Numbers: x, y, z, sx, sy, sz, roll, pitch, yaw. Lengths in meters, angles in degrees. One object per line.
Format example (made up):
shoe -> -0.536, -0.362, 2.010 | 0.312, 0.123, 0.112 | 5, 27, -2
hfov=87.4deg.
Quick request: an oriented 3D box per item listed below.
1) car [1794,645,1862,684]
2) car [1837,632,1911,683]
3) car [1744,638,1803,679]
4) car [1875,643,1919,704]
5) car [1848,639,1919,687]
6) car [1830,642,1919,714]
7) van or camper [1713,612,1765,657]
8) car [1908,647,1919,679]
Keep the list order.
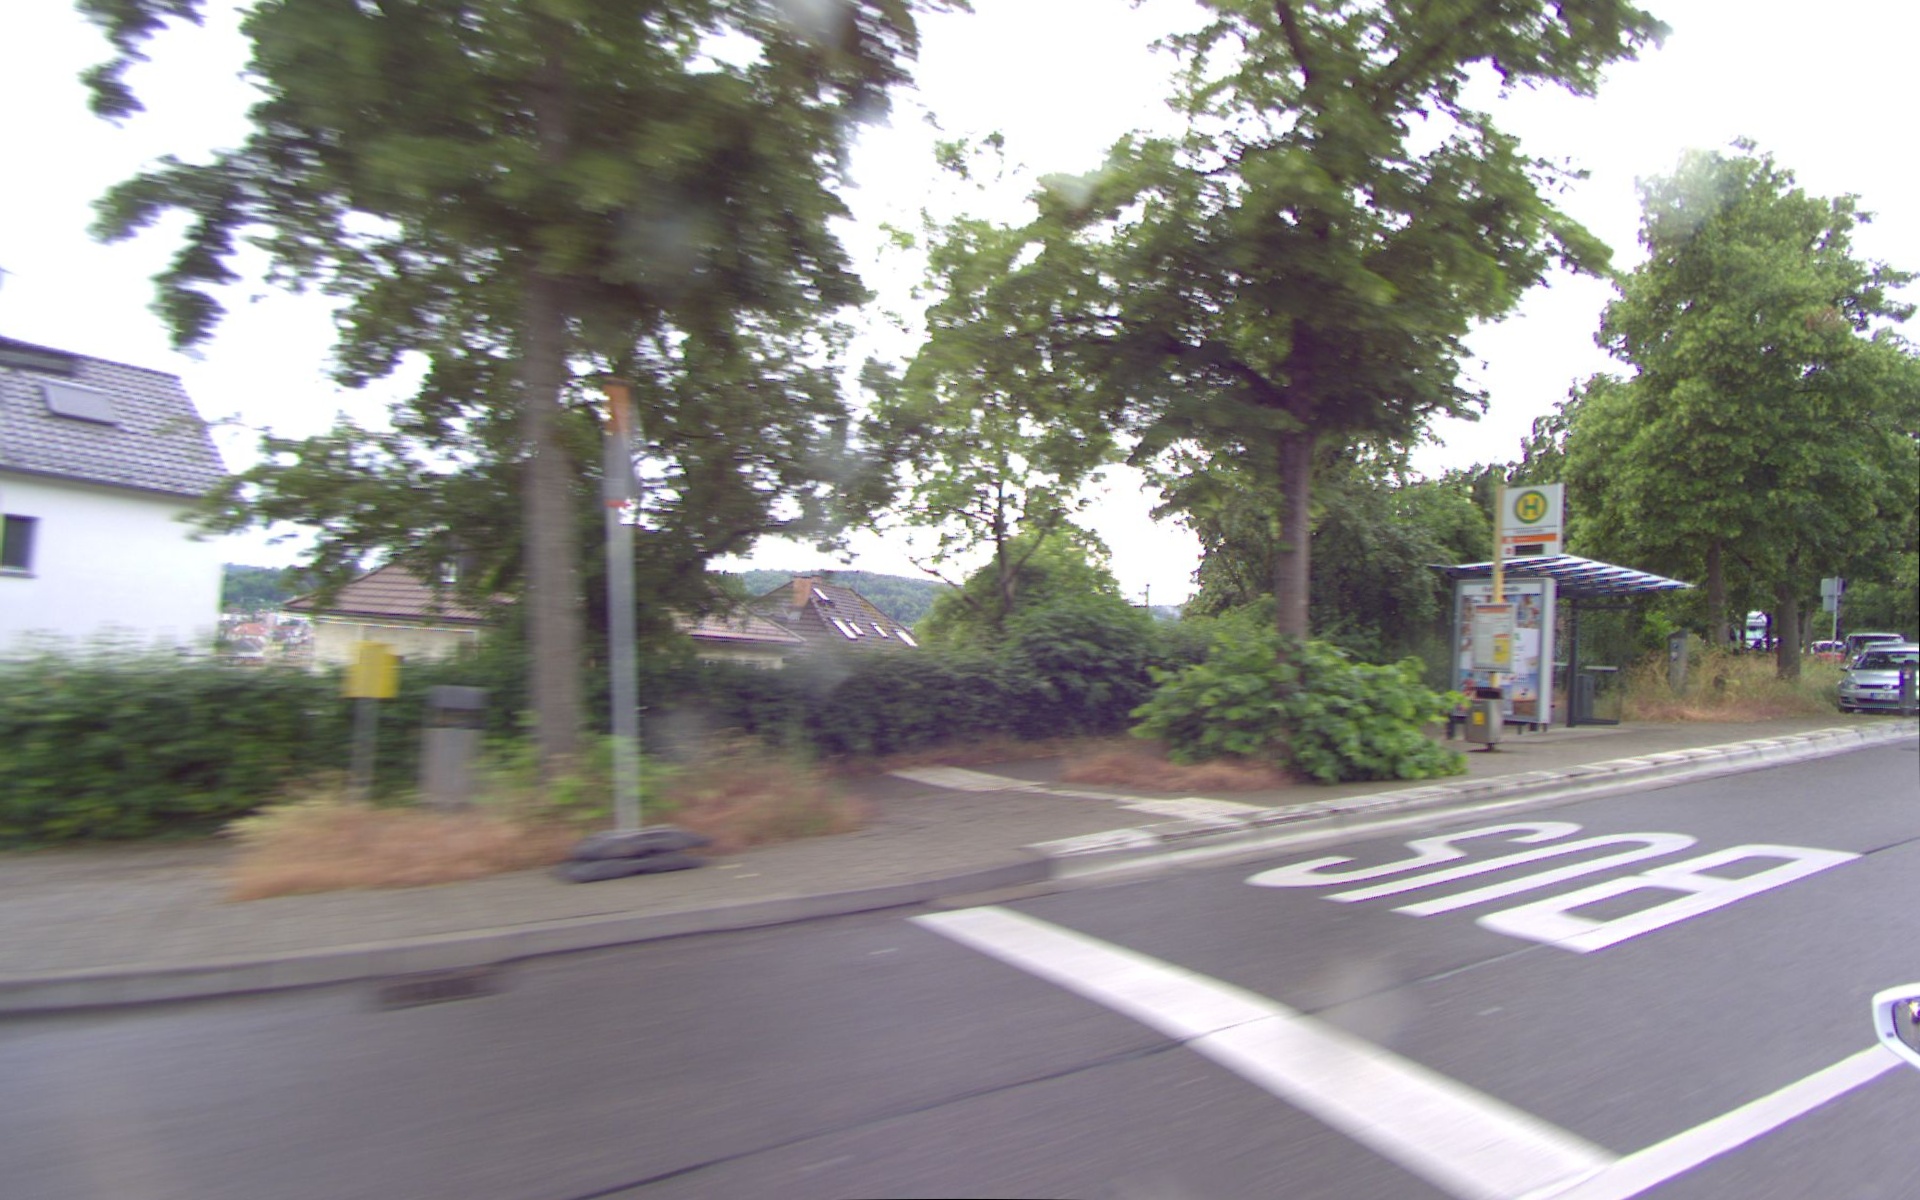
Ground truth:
car -> 40.140, 2.959, 46.538 | 1.968, 1.750, 3.987 | -2, -3, 36
car -> 35.609, 2.224, 39.234 | 1.814, 1.867, 3.887 | -1, -3, 38
car -> 42.911, 3.054, 53.091 | 1.966, 2.040, 3.990 | -1, -3, 33
car -> 24.423, 1.842, 25.383 | 3.973, 1.445, 1.657 | 3, -3, -44
car -> 32.485, 2.196, 35.372 | 1.654, 1.572, 3.885 | -1, -3, 39
car -> 20.467, 1.653, 21.891 | 3.968, 1.445, 1.660 | 3, -3, -40
van or camper -> 47.678, 2.124, 61.549 | 1.752, 2.686, 3.986 | 0, -3, 26
car -> 47.802, 3.084, 48.535 | 1.739, 1.590, 4.027 | 0, -3, 26
